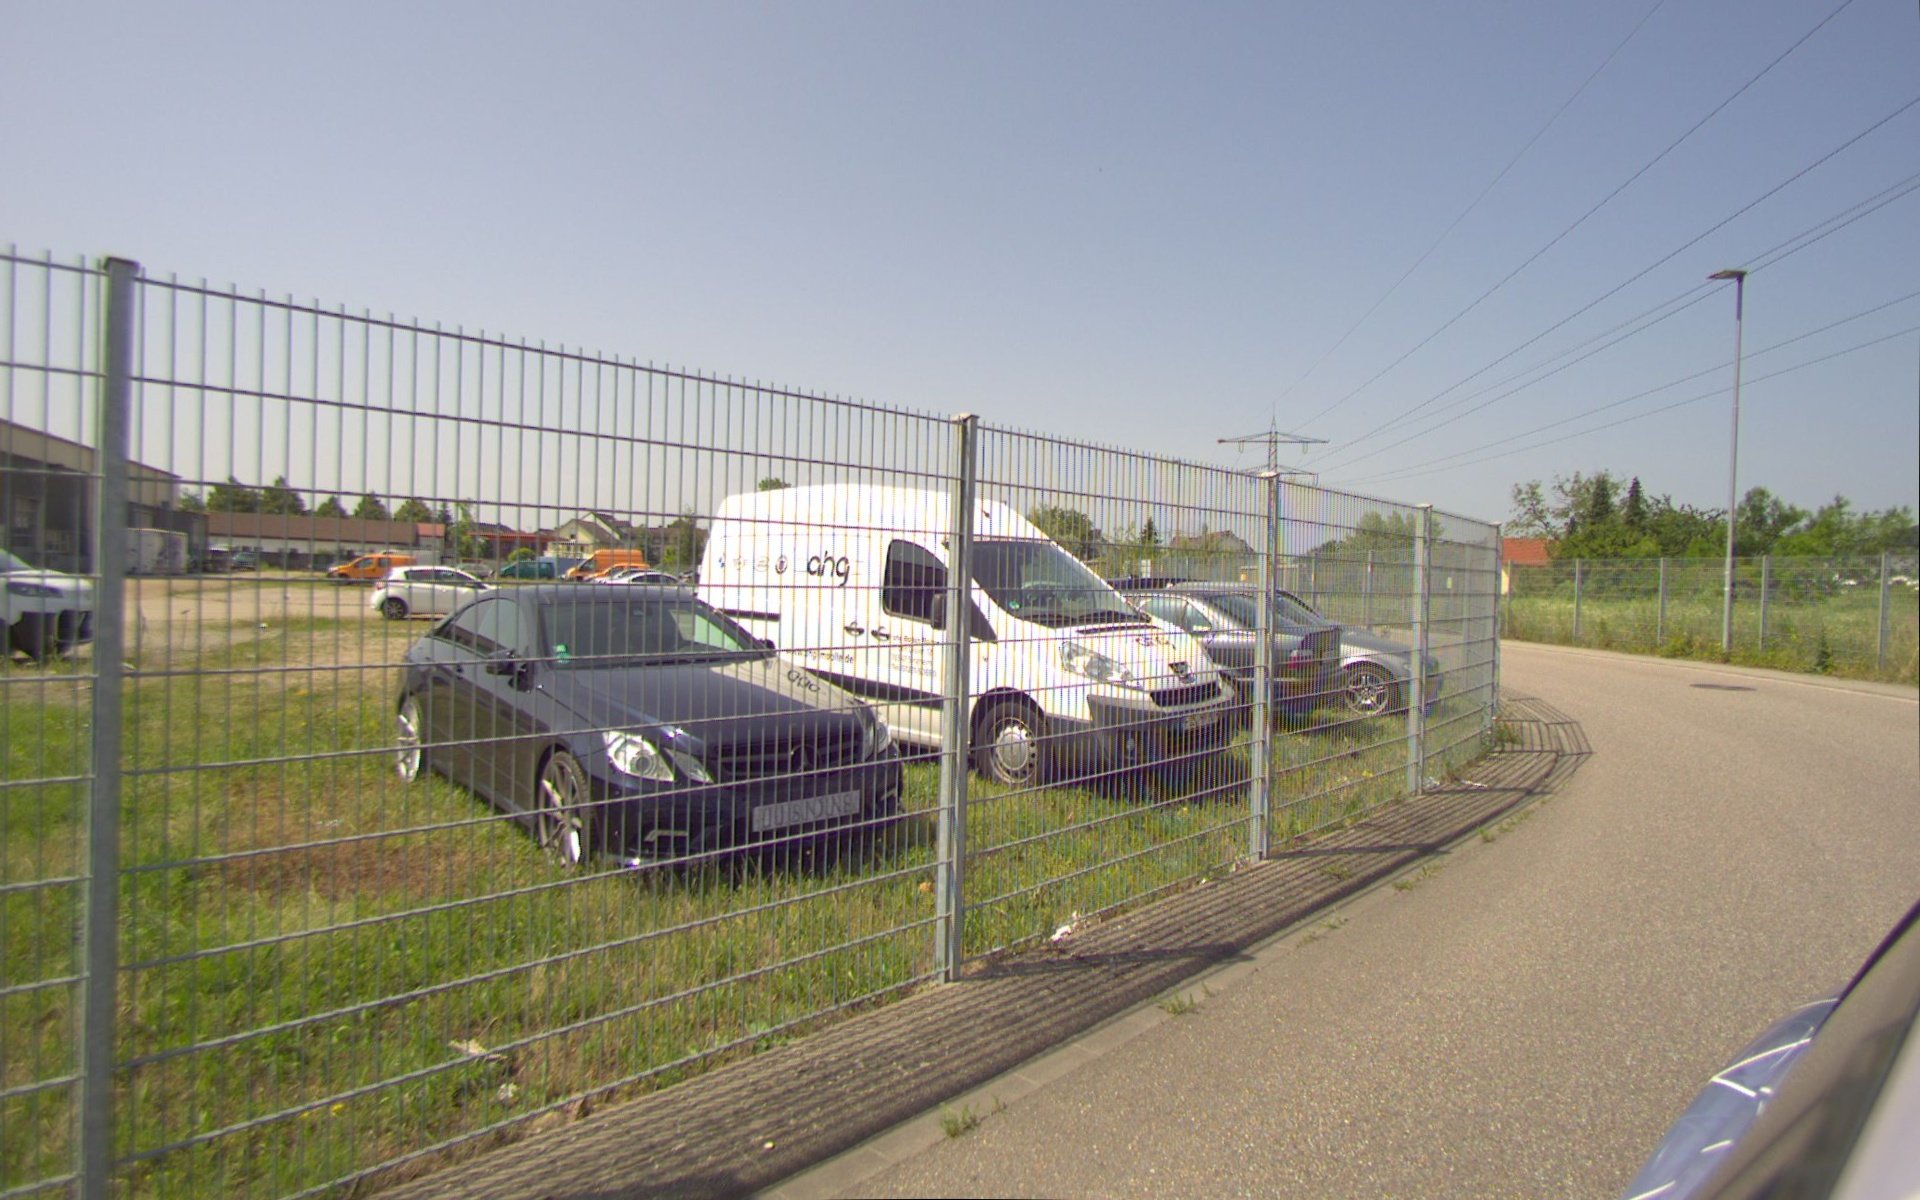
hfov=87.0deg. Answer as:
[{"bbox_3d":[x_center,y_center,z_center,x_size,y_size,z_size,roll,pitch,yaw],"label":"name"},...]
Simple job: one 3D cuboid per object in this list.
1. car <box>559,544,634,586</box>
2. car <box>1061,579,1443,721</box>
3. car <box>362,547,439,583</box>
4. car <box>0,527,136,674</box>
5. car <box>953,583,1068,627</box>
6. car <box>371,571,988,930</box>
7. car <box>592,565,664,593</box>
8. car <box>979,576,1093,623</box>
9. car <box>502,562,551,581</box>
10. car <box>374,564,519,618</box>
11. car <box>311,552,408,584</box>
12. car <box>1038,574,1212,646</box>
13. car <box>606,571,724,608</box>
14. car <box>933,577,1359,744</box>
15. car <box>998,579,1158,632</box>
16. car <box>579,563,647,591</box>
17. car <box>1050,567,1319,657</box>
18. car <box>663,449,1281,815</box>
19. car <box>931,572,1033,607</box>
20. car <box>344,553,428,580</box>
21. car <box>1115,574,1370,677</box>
[{"bbox_3d":[-24.635,-2.310,68.610,4.647,2.617,1.984,2,0,-22],"label":"car"},{"bbox_3d":[3.559,0.502,12.566,4.319,1.412,1.601,2,1,29],"label":"car"},{"bbox_3d":[-37.174,-2.298,67.329,4.298,2.199,1.977,2,0,-25],"label":"car"},{"bbox_3d":[-14.400,-0.041,13.465,4.970,1.923,1.862,1,1,-21],"label":"car"},{"bbox_3d":[1.667,0.145,34.127,3.599,1.371,1.743,1,1,-8],"label":"car"},{"bbox_3d":[-2.053,0.561,6.333,1.875,1.377,4.425,0,2,-43],"label":"car"},{"bbox_3d":[-19.041,-1.205,58.072,3.749,1.480,1.592,2,0,-22],"label":"car"},{"bbox_3d":[2.347,-0.013,31.509,3.210,1.371,1.531,1,1,-10],"label":"car"},{"bbox_3d":[-38.199,-2.535,89.108,3.885,1.504,1.756,2,0,-25],"label":"car"},{"bbox_3d":[-14.581,-0.254,28.911,3.591,1.453,1.539,1,1,-25],"label":"car"},{"bbox_3d":[-32.213,-1.704,54.416,4.298,1.504,1.756,2,0,-25],"label":"car"},{"bbox_3d":[3.811,0.211,23.717,3.585,1.495,1.756,1,3,-9],"label":"car"},{"bbox_3d":[-11.974,-0.426,41.100,4.428,1.368,1.630,1,1,-21],"label":"car"},{"bbox_3d":[1.857,0.497,10.769,4.183,1.374,1.595,2,2,36],"label":"car"},{"bbox_3d":[3.270,0.153,28.381,4.110,1.371,1.726,1,1,-9],"label":"car"},{"bbox_3d":[-20.888,-1.368,60.933,3.749,1.480,1.592,2,0,-22],"label":"car"},{"bbox_3d":[4.053,0.192,18.732,4.460,1.492,1.828,1,1,-5],"label":"car"},{"bbox_3d":[-0.252,0.093,8.527,5.325,2.176,1.877,3,2,43],"label":"car"},{"bbox_3d":[0.924,-0.462,43.526,4.091,1.354,1.641,-2,2,-10],"label":"car"},{"bbox_3d":[-35.169,-2.037,62.107,4.298,1.504,1.977,2,0,-25],"label":"car"},{"bbox_3d":[4.297,0.365,15.721,3.406,1.440,1.638,1,1,-5],"label":"car"}]
